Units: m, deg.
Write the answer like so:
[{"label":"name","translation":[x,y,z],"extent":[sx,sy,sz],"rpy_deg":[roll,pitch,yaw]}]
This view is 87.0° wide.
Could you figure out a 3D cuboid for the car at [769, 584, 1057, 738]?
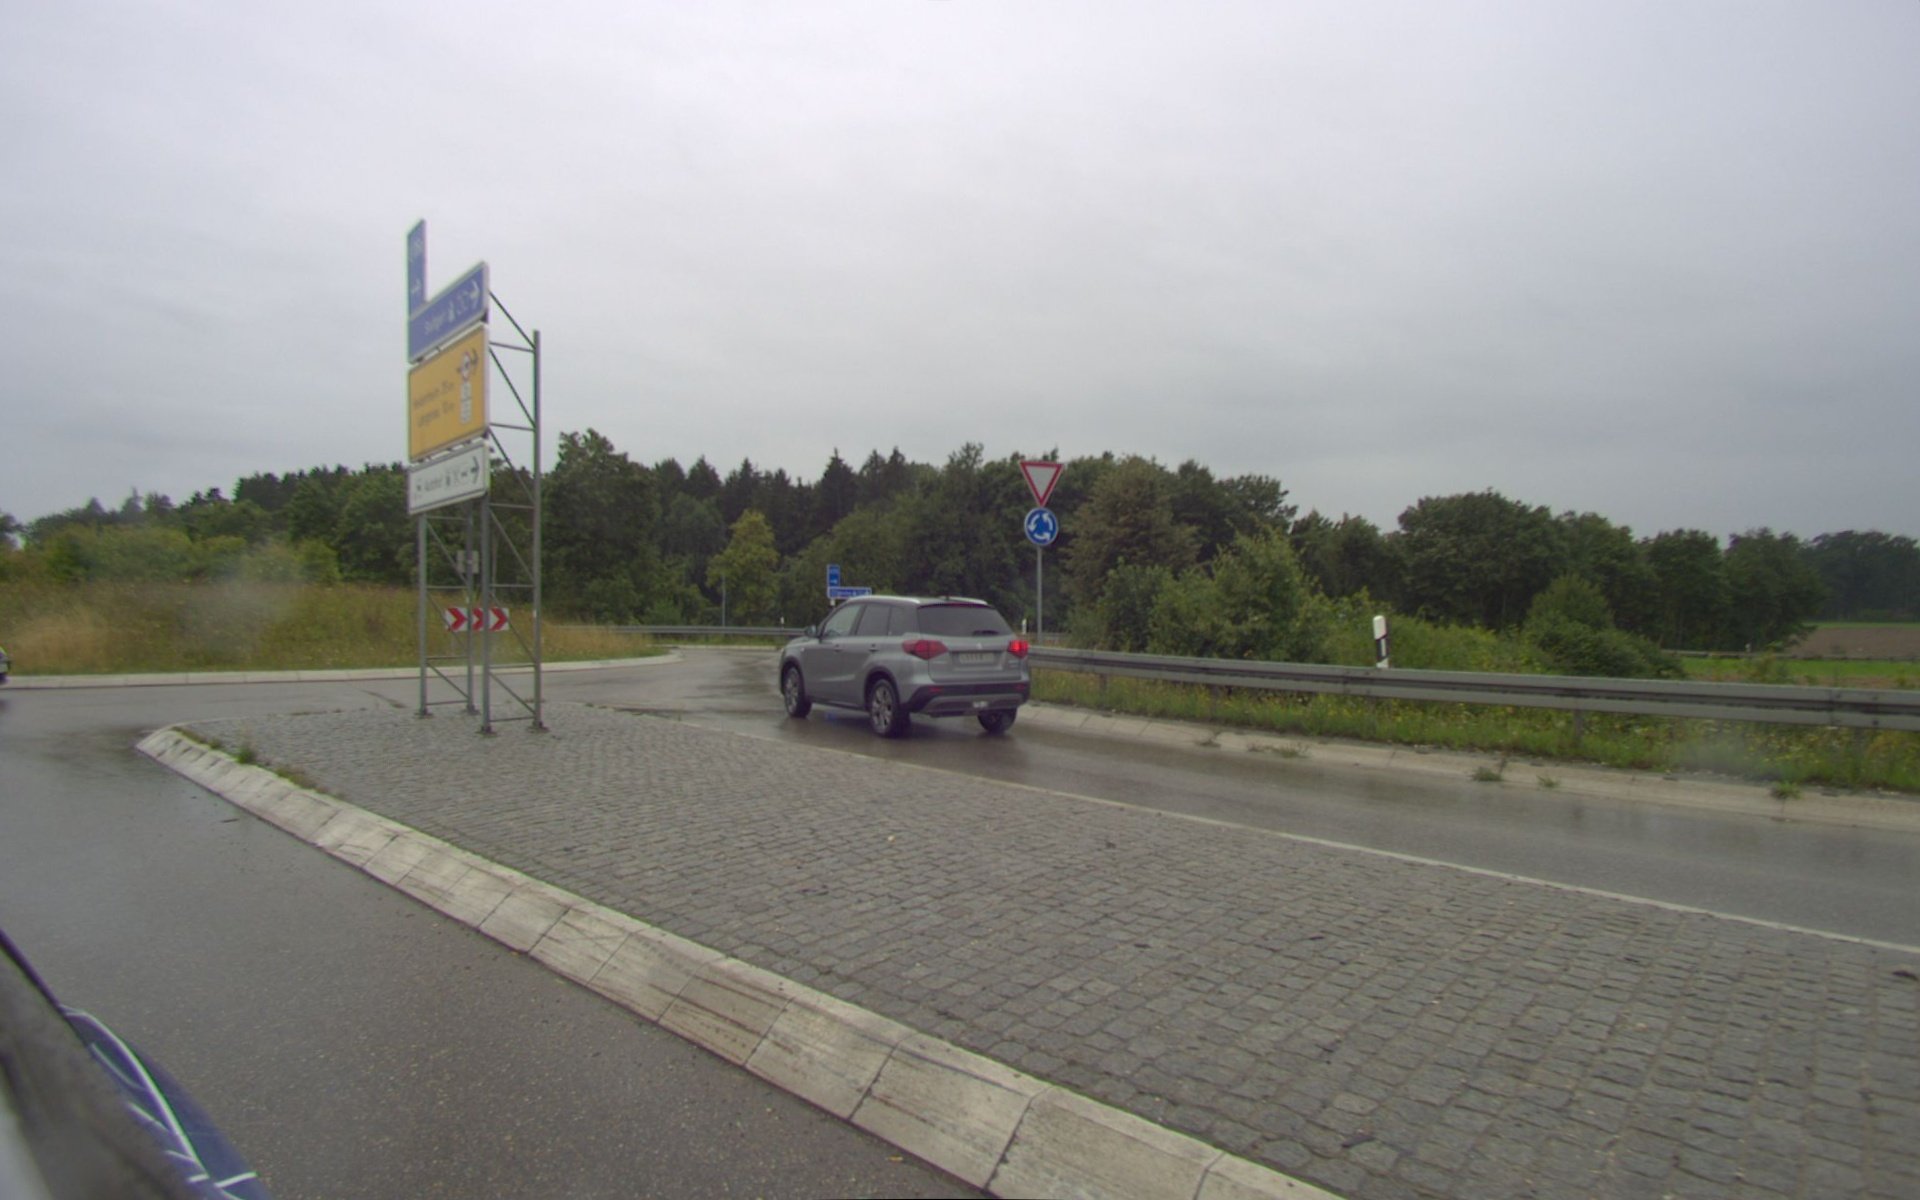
[{"label":"car","translation":[-0.759,0.654,12.628],"extent":[1.776,1.587,4.011],"rpy_deg":[2,-1,-33]}]
